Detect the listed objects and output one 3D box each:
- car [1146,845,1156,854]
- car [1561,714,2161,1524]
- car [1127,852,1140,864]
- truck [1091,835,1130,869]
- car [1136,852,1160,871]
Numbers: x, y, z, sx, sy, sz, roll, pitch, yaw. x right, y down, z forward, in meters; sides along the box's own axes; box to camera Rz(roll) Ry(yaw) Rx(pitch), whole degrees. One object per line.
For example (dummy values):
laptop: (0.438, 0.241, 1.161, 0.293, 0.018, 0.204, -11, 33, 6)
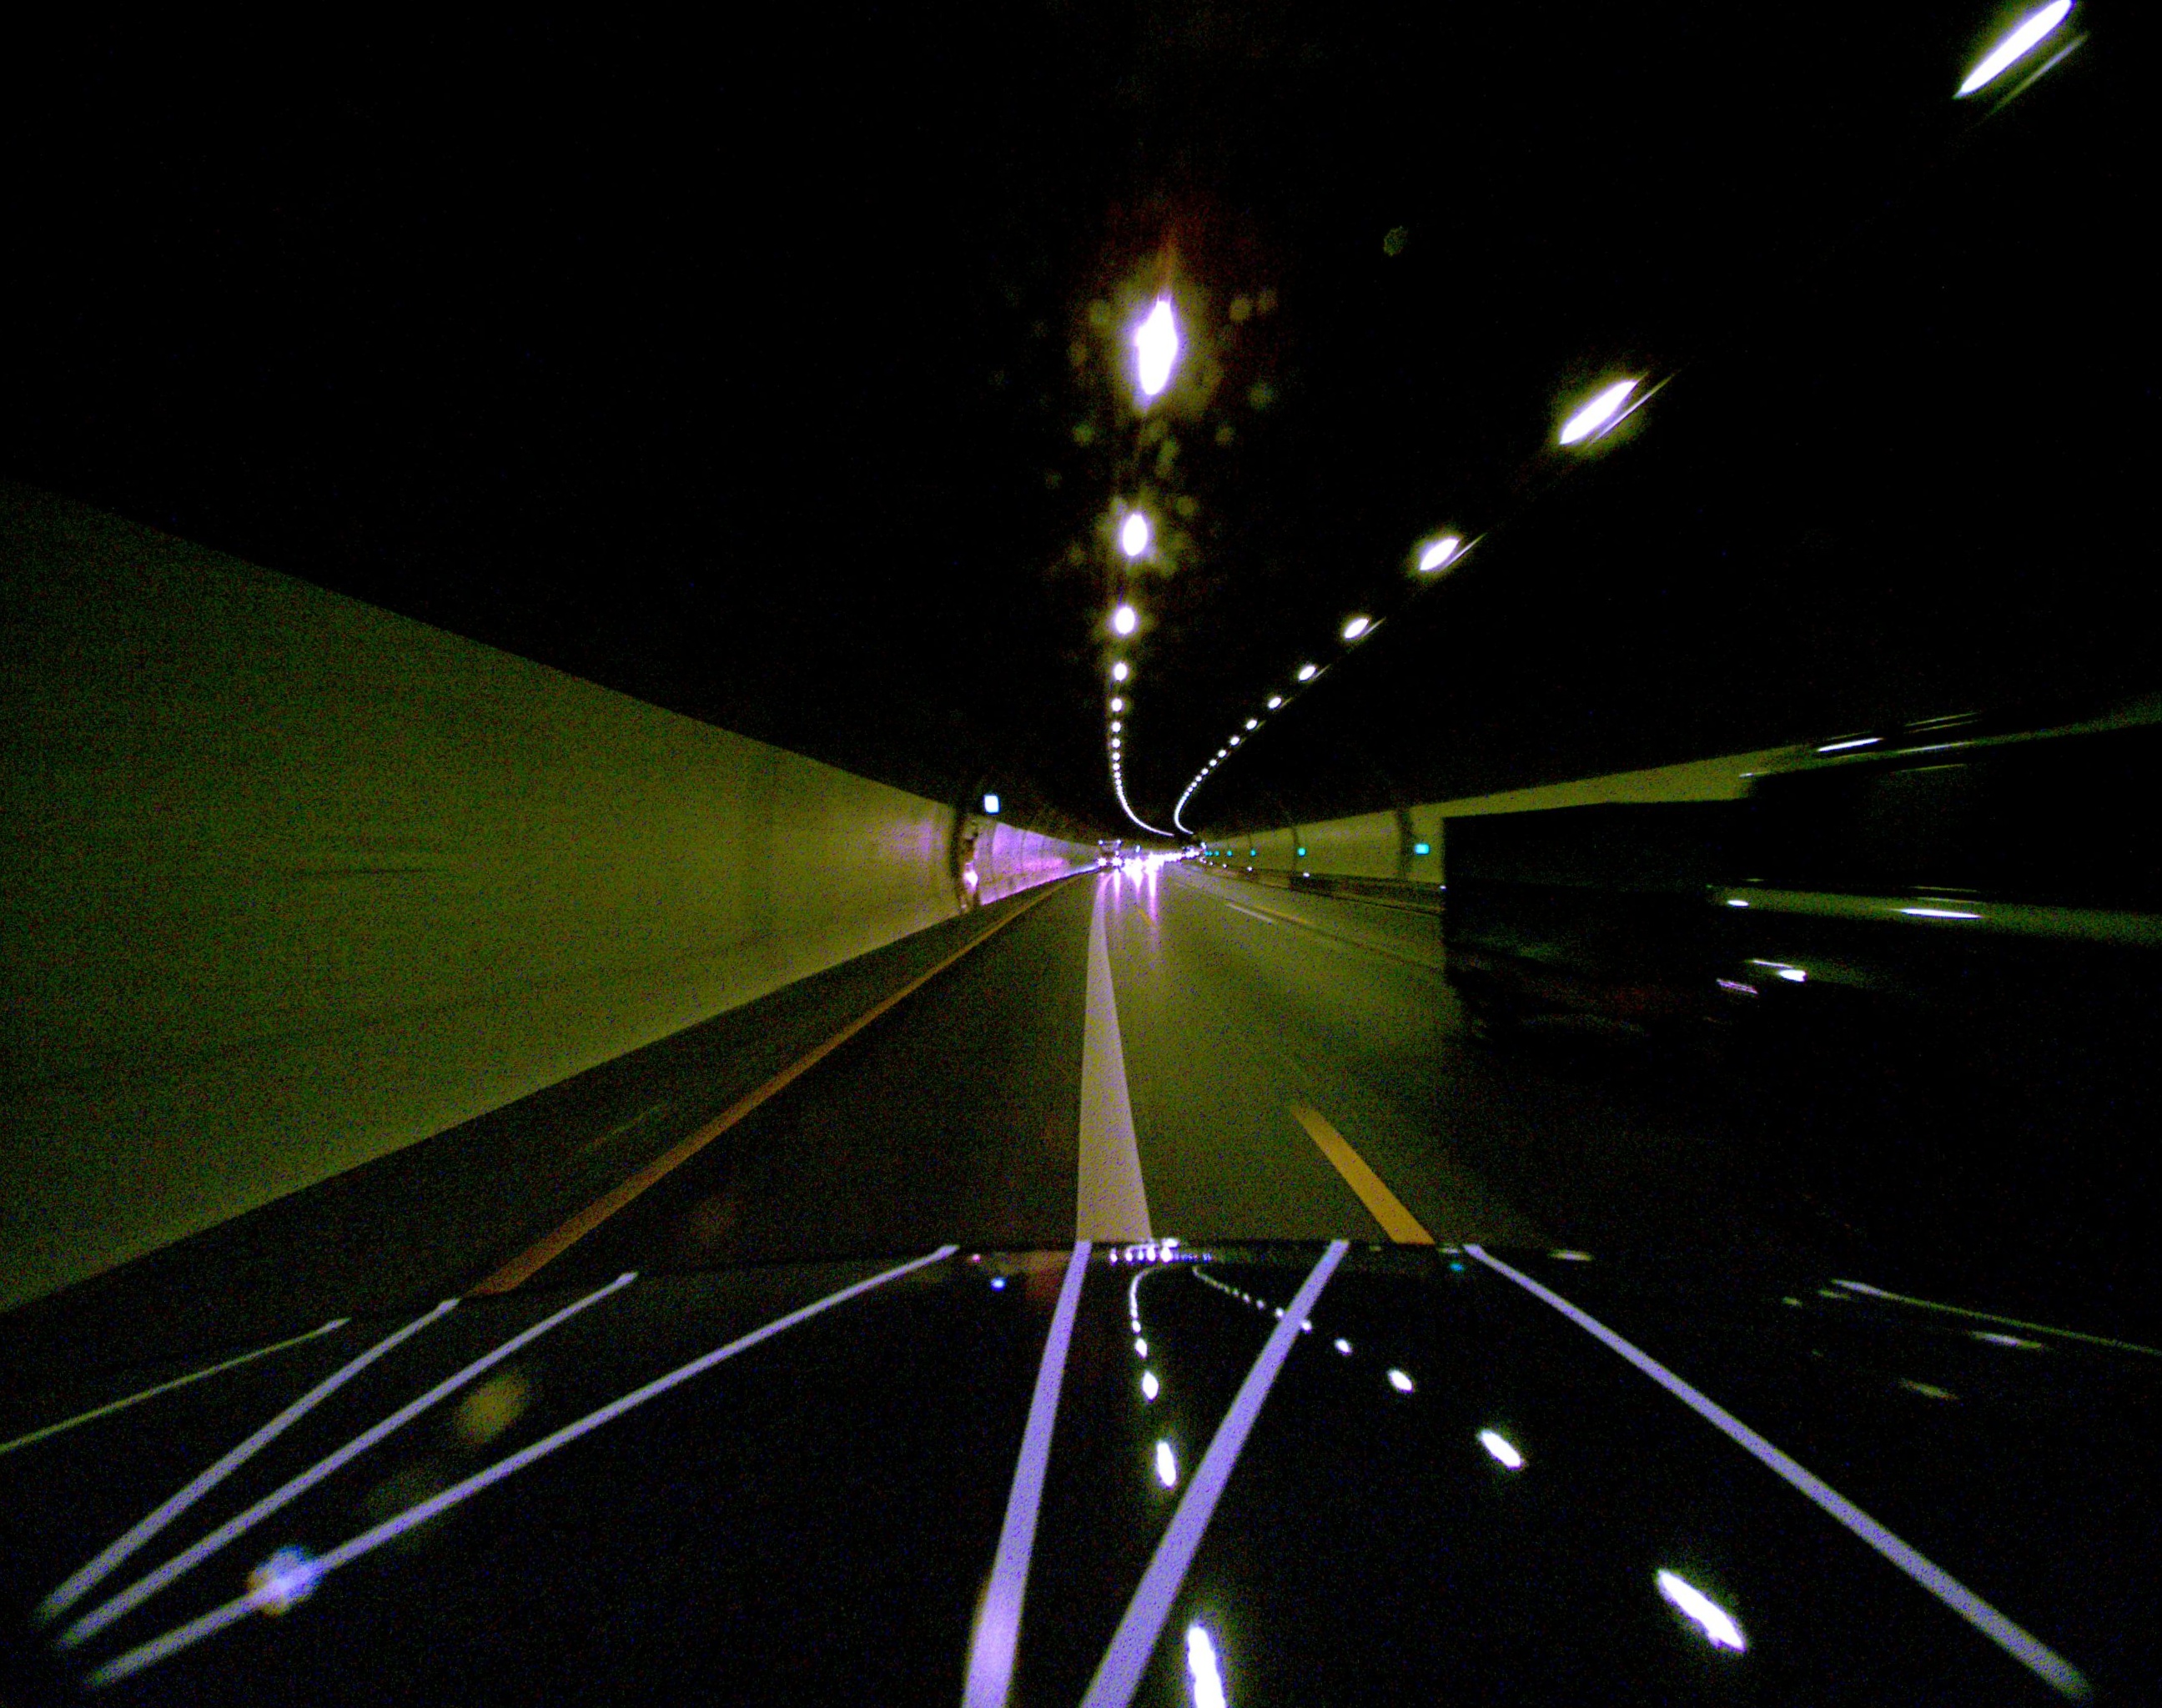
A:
car: (16.325, -1.014, 177.838, 1.997, 1.917, 4.387, -3, 0, 7)
car: (3.460, 0.564, 1.094, 1.998, 1.884, 5.452, -4, 0, 0)
car: (8.990, 0.648, 130.043, 1.997, 2.002, 4.002, -3, 0, 7)
truck: (3.294, -0.256, 81.449, 2.987, 3.161, 10.513, -3, 0, 8)
car: (6.548, 0.700, 74.130, 2.171, 1.709, 4.482, -3, 0, 4)
